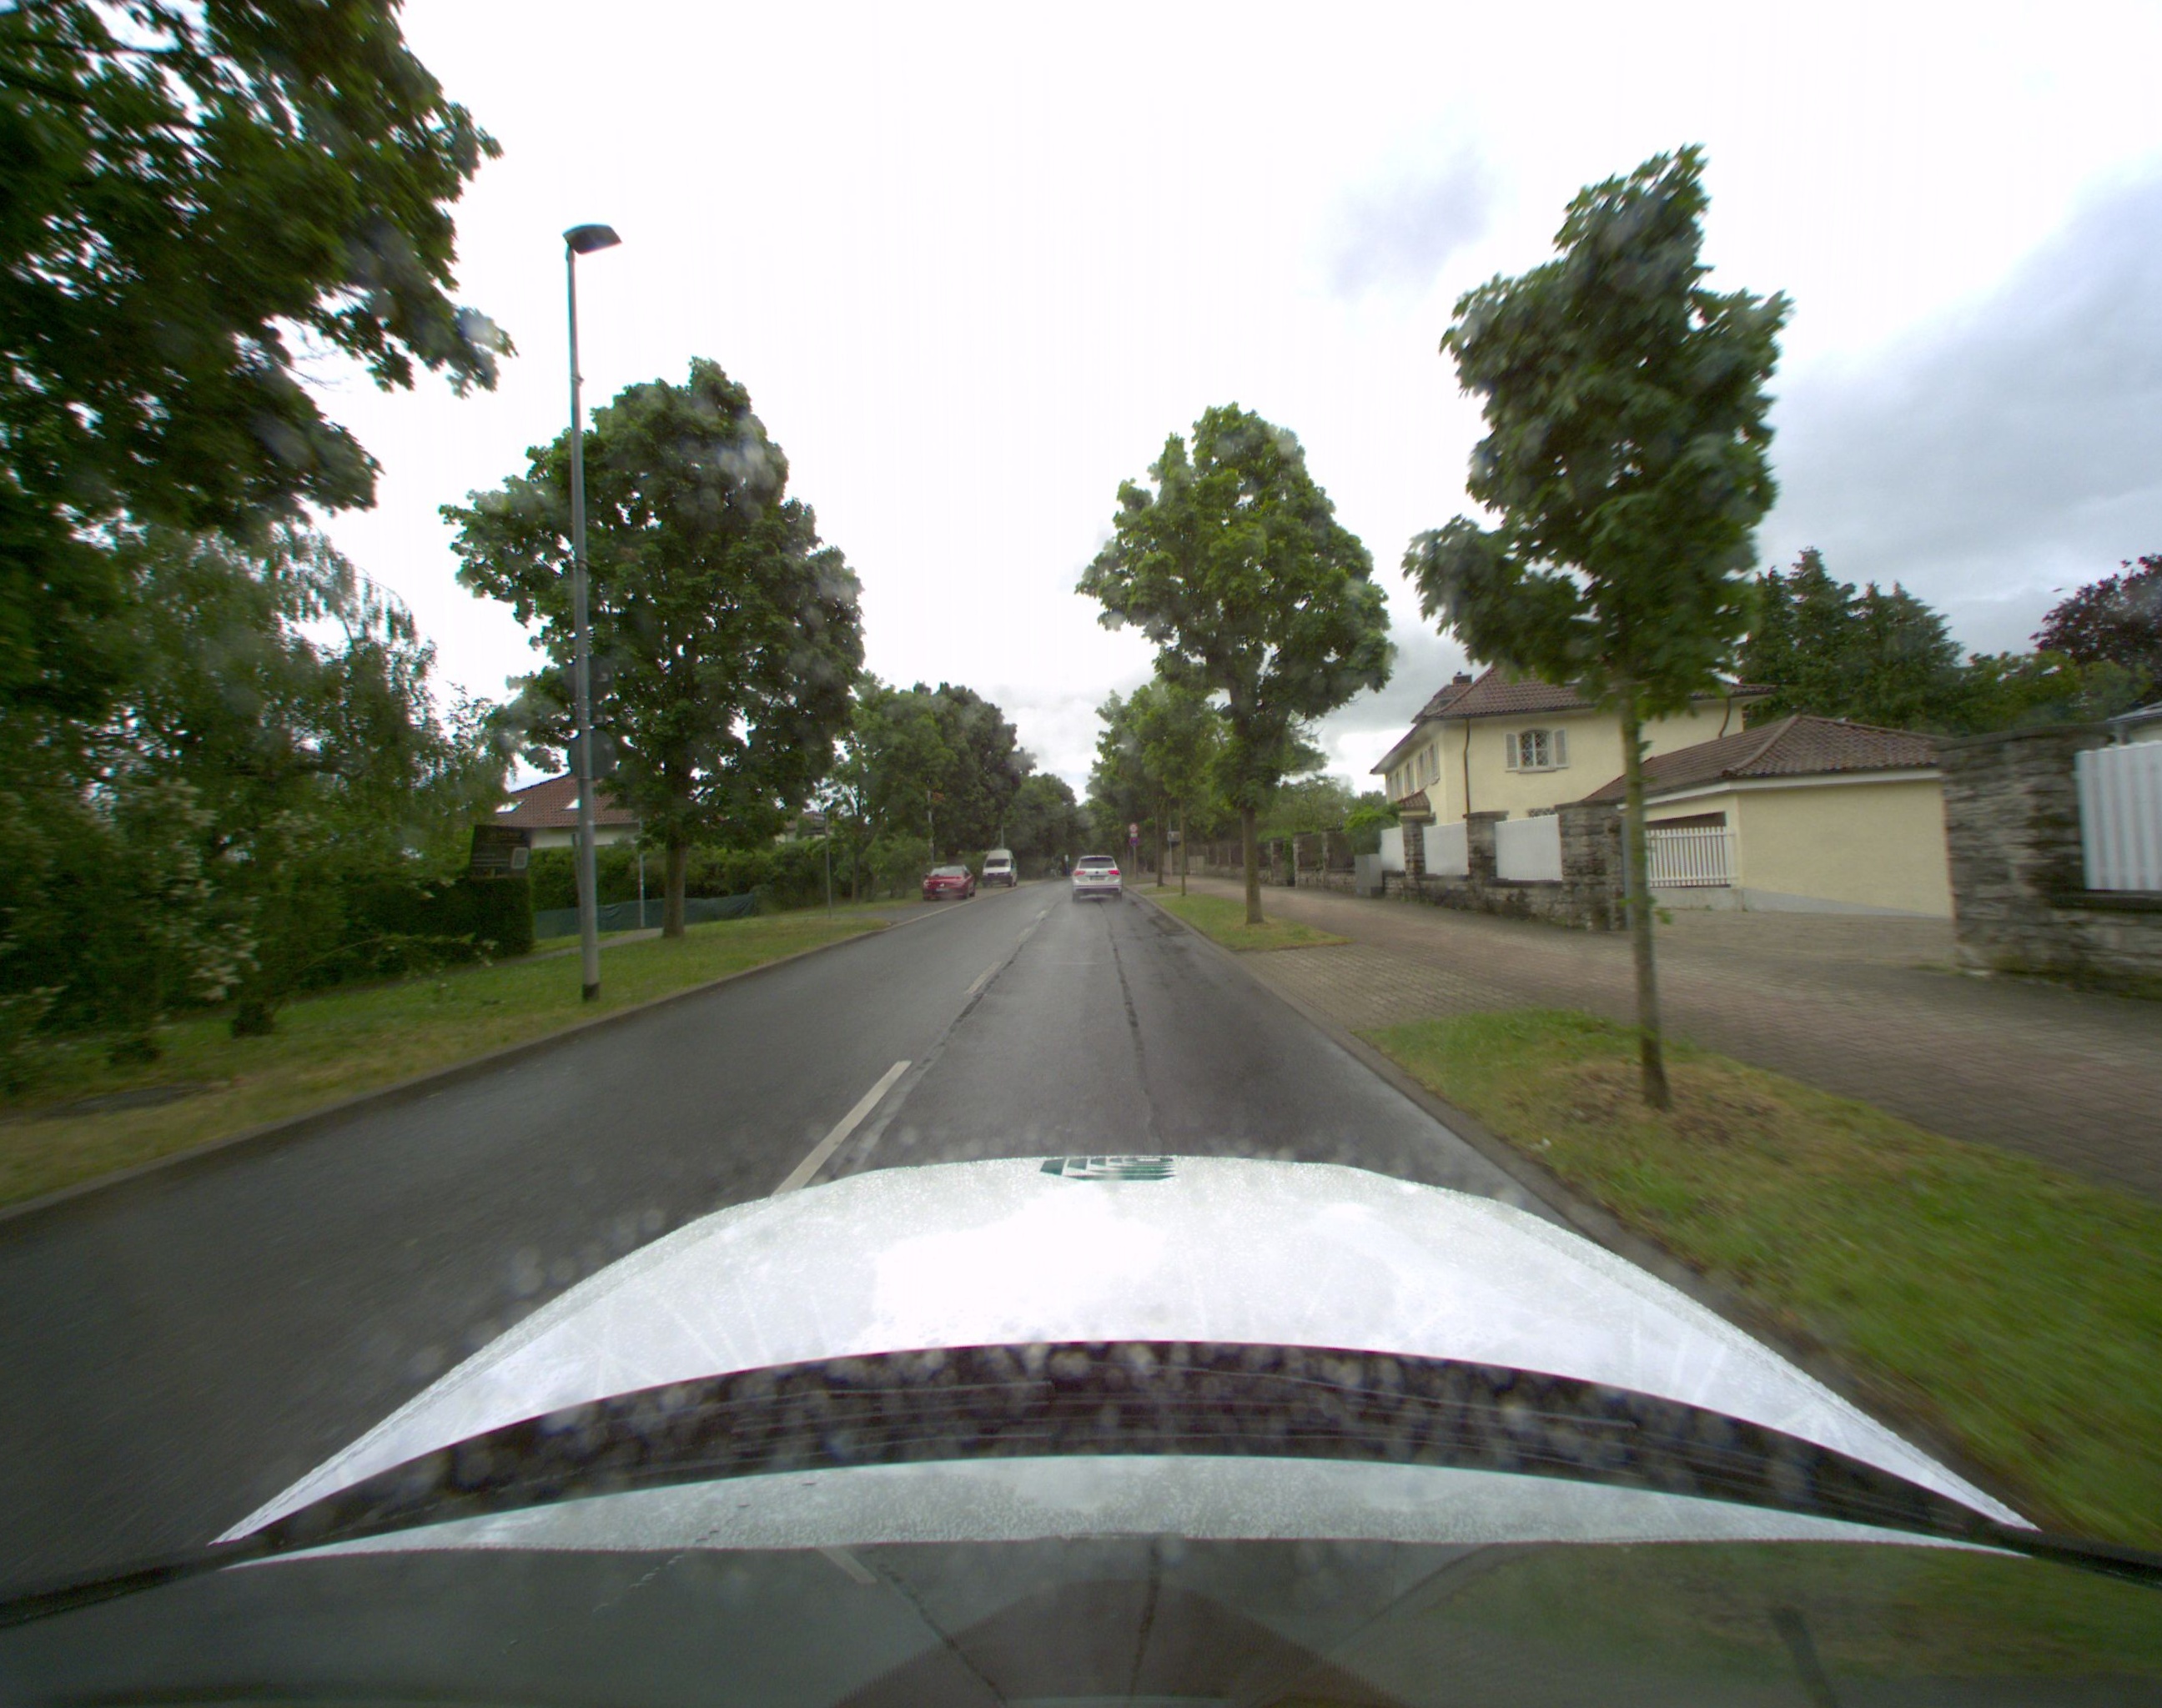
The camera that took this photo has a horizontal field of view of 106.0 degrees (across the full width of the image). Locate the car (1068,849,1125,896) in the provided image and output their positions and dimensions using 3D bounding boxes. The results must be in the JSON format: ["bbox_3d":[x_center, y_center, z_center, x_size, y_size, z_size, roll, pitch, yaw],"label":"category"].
[{"bbox_3d":[0.584,0.654,30.855,1.990,1.632,4.001,-1,0,1],"label":"car"}]

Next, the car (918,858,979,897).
[{"bbox_3d":[-5.454,0.949,34.017,1.837,1.466,4.248,-2,-1,0],"label":"car"}]

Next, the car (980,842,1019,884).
[{"bbox_3d":[-5.318,0.593,53.751,1.987,2.561,5.231,-2,-1,0],"label":"car"}]

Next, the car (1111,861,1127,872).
[{"bbox_3d":[5.726,1.953,123.417,1.829,1.487,4.010,-4,-2,10],"label":"car"}]
